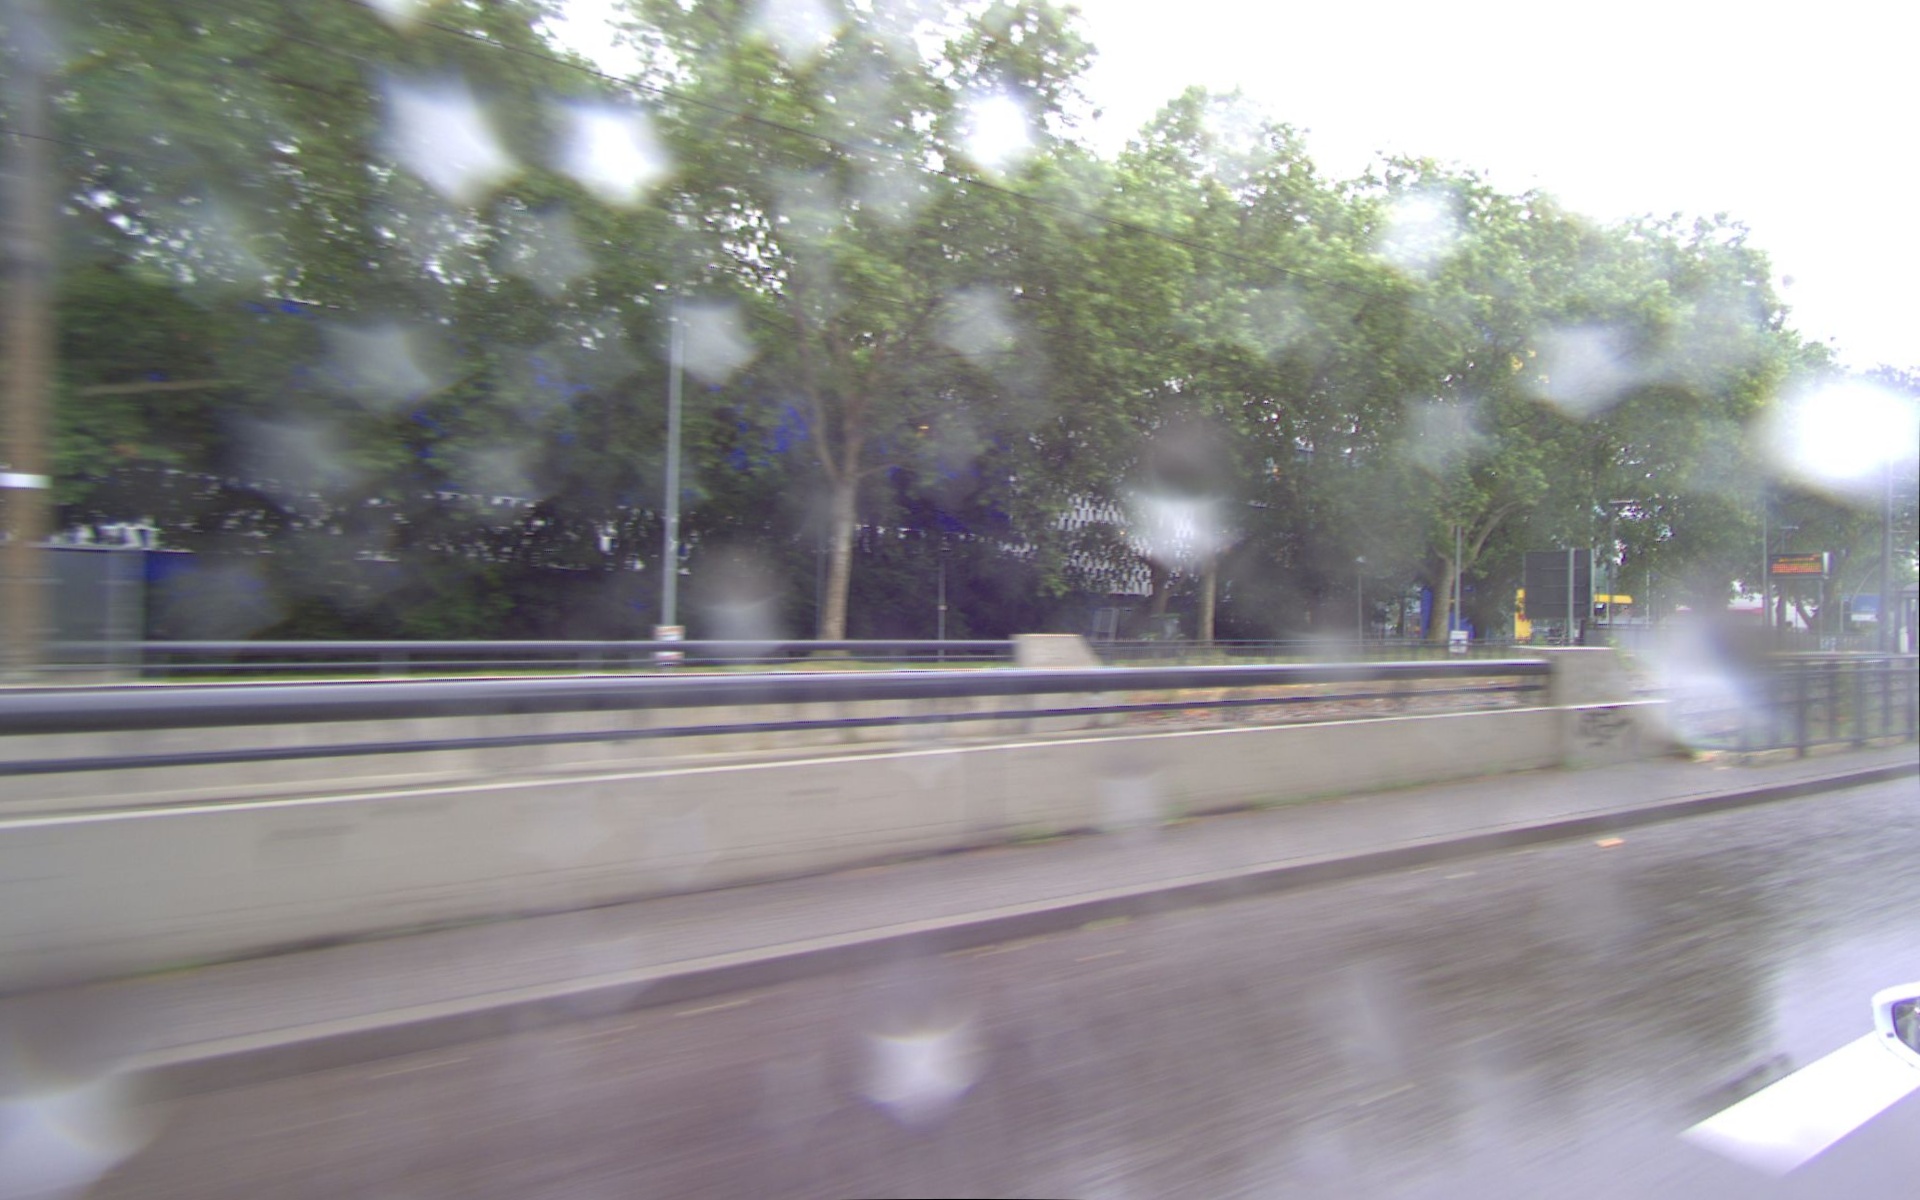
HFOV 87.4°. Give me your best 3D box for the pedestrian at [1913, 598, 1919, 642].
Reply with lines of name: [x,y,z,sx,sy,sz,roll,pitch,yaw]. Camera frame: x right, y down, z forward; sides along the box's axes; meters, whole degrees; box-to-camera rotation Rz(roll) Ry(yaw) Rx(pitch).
pedestrian: [44.471,0.933,46.379,0.576,2.040,0.491,1,1,-30]
